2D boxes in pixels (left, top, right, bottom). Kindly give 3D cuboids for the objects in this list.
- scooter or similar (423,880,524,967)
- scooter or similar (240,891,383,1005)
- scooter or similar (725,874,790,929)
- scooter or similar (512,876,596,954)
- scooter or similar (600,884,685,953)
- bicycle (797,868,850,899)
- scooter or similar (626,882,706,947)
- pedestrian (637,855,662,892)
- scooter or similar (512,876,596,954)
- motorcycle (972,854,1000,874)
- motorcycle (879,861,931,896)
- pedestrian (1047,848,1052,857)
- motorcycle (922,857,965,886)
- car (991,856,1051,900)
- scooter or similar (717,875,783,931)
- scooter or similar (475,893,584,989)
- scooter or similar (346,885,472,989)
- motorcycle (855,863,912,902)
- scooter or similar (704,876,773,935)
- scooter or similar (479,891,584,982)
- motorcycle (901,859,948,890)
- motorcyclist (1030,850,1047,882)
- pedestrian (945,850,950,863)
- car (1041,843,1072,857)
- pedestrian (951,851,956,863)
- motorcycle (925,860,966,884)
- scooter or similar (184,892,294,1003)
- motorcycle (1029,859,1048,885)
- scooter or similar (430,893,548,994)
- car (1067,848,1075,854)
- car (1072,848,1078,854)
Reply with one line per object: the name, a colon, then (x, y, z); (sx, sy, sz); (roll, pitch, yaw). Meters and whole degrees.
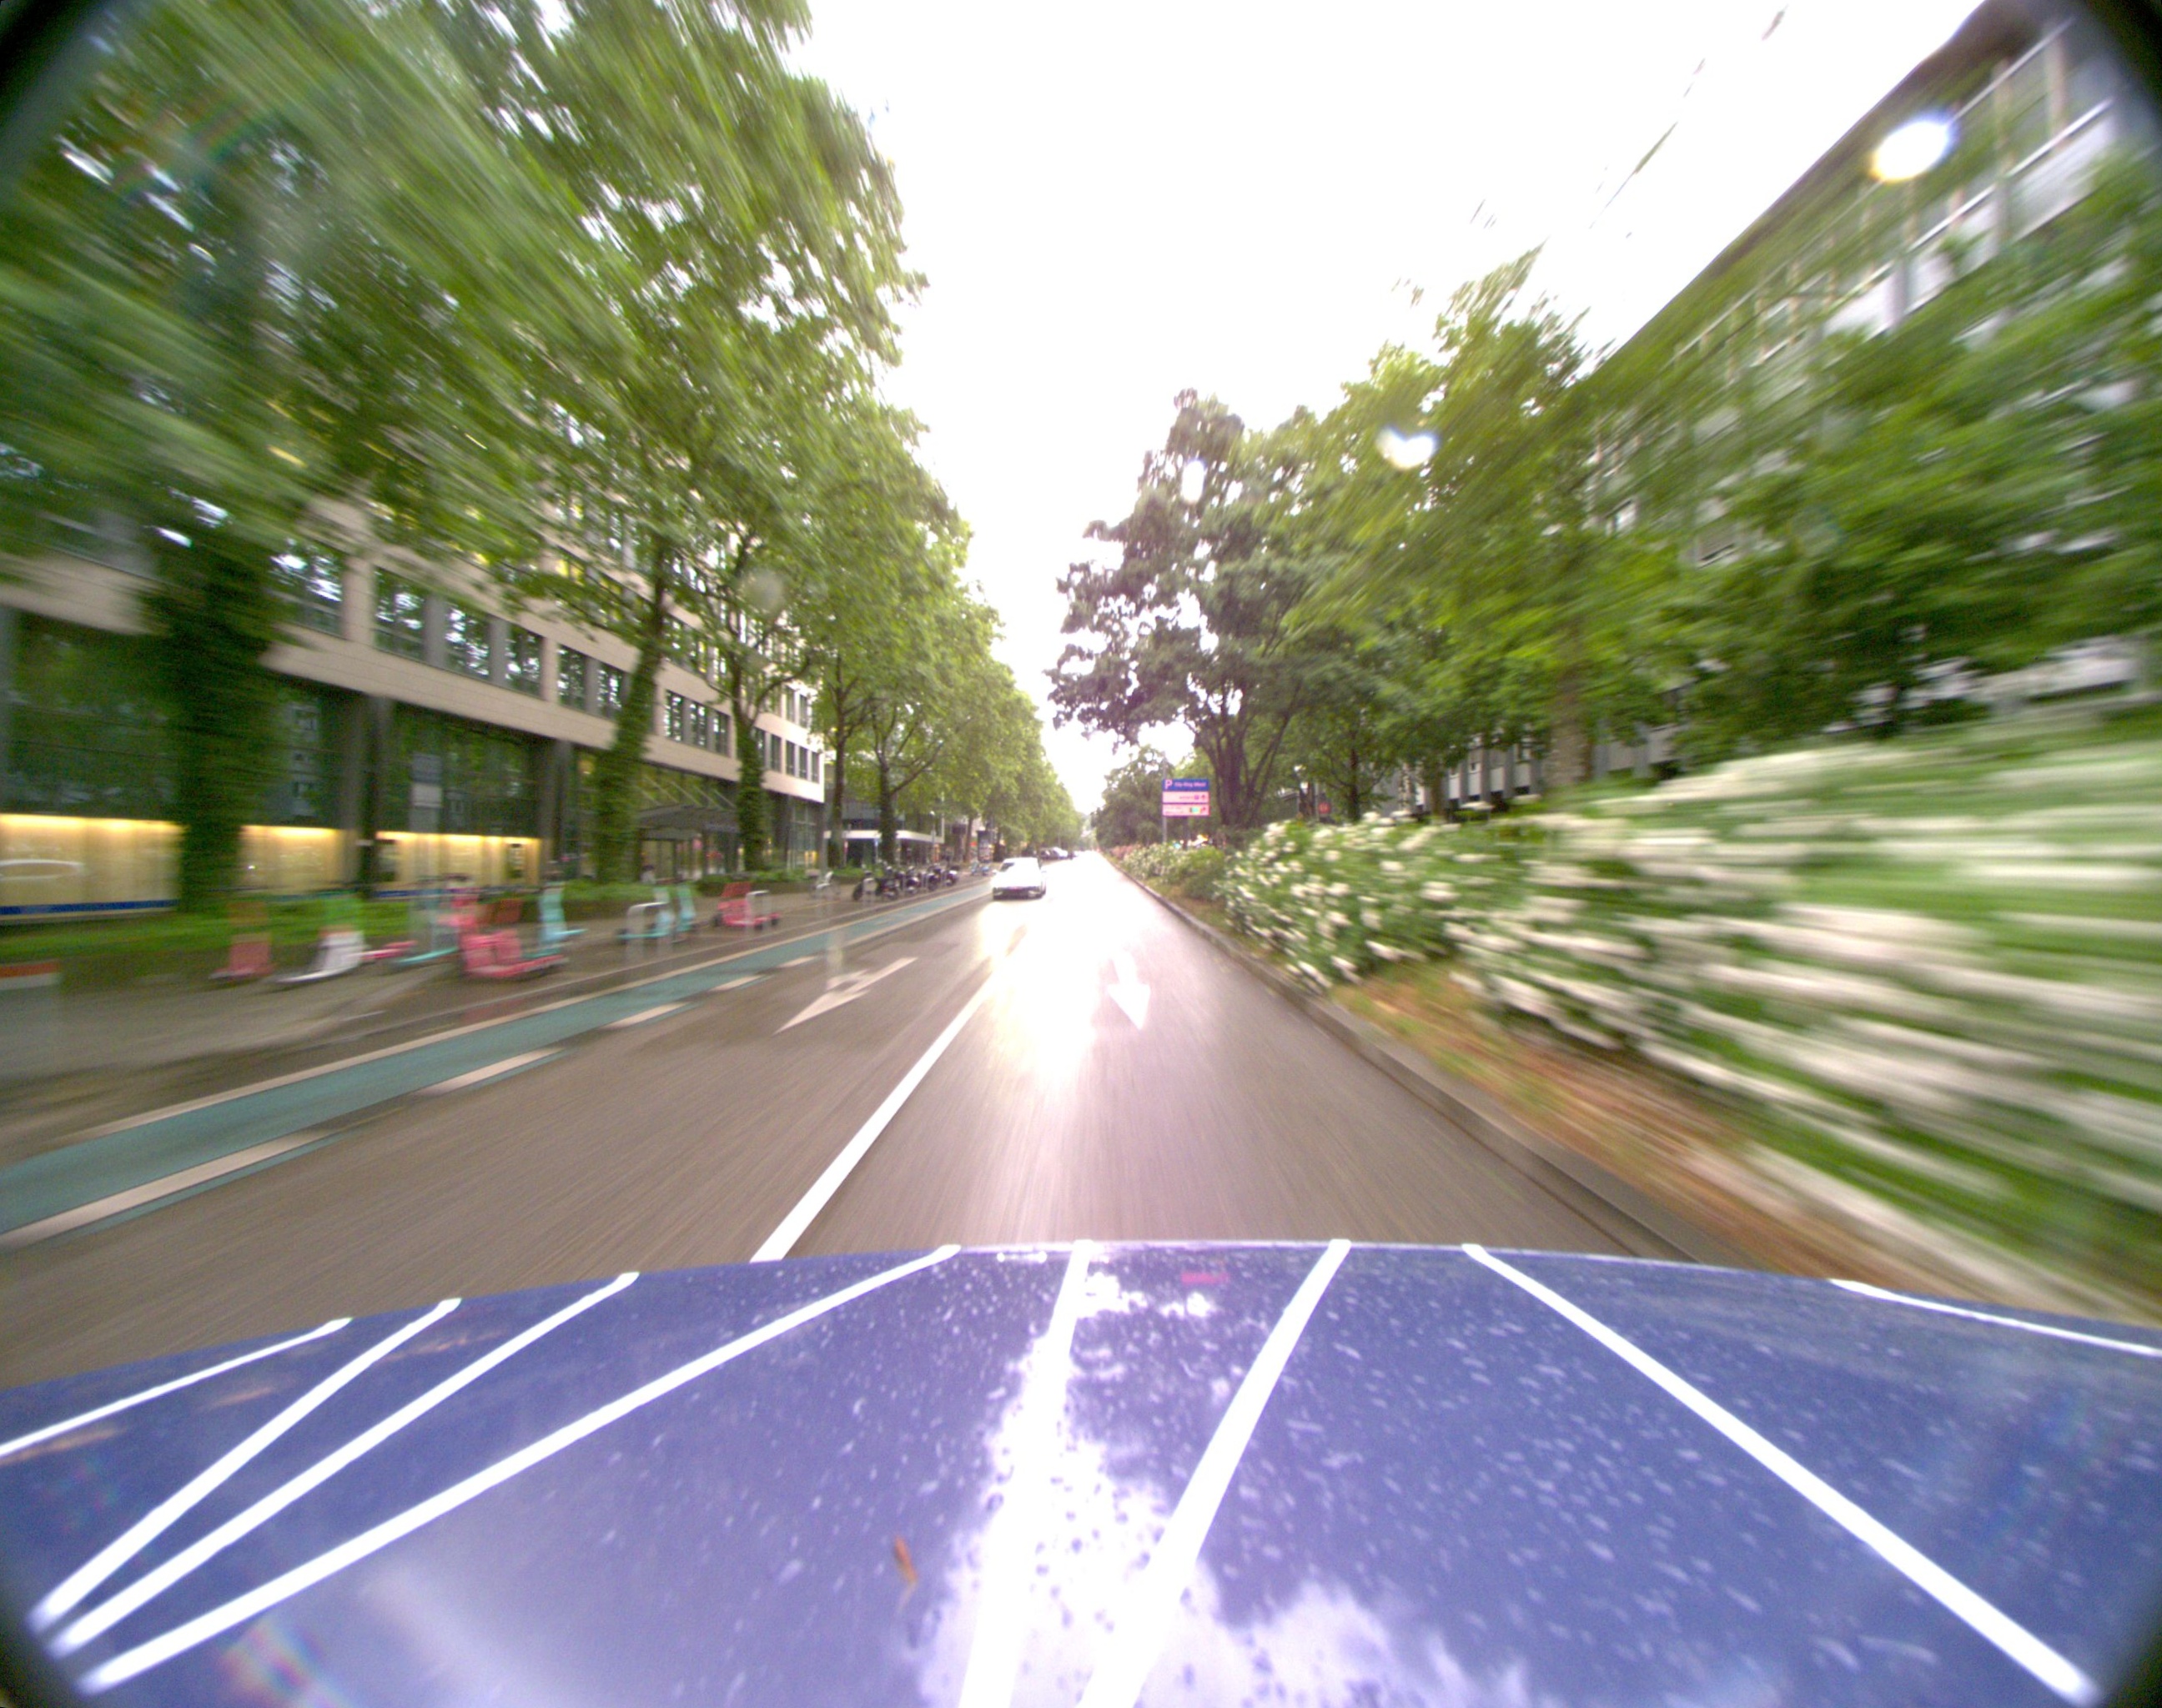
scooter or similar: (-9.341, 1.039, 11.739); (0.489, 1.252, 1.294); (0, -1, 1)
scooter or similar: (-9.264, 1.085, 9.209); (0.489, 1.191, 1.292); (-1, 1, -8)
scooter or similar: (-7.686, 1.123, 18.075); (1.292, 1.270, 0.537); (0, -1, 5)
scooter or similar: (-8.945, 1.004, 12.941); (0.489, 1.252, 1.294); (0, -1, 1)
scooter or similar: (-8.108, 1.185, 14.082); (1.292, 1.228, 0.489); (0, -1, 3)
bicycle: (-9.169, 1.039, 27.124); (0.637, 1.022, 1.766); (-1, 1, 30)
scooter or similar: (-8.095, 1.171, 14.827); (1.292, 1.228, 0.489); (0, -1, 3)
pedestrian: (-20.210, 0.909, 35.558); (0.727, 1.683, 0.830); (0, 0, 44)
scooter or similar: (-8.945, 1.004, 12.941); (0.489, 1.252, 1.294); (0, -1, 1)
motorcycle: (-6.787, 0.702, 54.177); (0.682, 1.359, 1.950); (4, 2, 41)
motorcycle: (-7.072, 0.972, 30.494); (1.964, 1.365, 0.728); (1, -1, -20)
pedestrian: (-6.288, -0.268, 151.963); (0.893, 1.839, 0.786); (-2, 2, -17)
motorcycle: (-6.931, 0.894, 38.306); (2.062, 1.420, 0.728); (1, -1, -20)
car: (-2.190, 0.850, 28.673); (1.795, 1.463, 3.793); (-2, 1, 2)
scooter or similar: (-7.678, 1.131, 17.631); (1.292, 1.270, 0.537); (0, -1, 5)
scooter or similar: (-7.670, 1.185, 10.576); (1.291, 1.252, 0.490); (0, -1, 13)
scooter or similar: (-8.842, 1.056, 10.055); (0.489, 1.252, 1.294); (0, -1, 1)
motorcycle: (-7.060, 1.002, 27.201); (1.963, 1.365, 0.728); (1, -1, -15)
scooter or similar: (-7.618, 1.142, 16.945); (1.294, 1.270, 0.536); (1, -1, -9)
scooter or similar: (-8.035, 1.186, 11.118); (1.291, 1.252, 0.490); (0, -1, 13)
motorcycle: (-6.977, 0.919, 33.913); (1.964, 1.365, 0.728); (1, -1, -20)
motorcyclist: (-2.150, 0.583, 38.319); (0.744, 1.575, 1.059); (-2, 2, 1)
pedestrian: (-19.009, 0.311, 108.445); (0.523, 1.848, 0.704); (1, 2, 1)
car: (-5.123, -0.866, 158.707); (6.267, 2.665, 2.326); (-1, 2, 37)
pedestrian: (-18.221, 0.433, 108.500); (0.527, 1.616, 0.719); (1, 2, 1)
motorcycle: (-7.236, 0.974, 40.668); (2.064, 1.206, 0.683); (1, 1, -34)
scooter or similar: (-10.433, 1.118, 9.459); (0.490, 1.191, 1.290); (-2, 2, -30)
motorcycle: (-2.138, 0.889, 38.410); (0.744, 1.194, 2.235); (-2, 1, 1)
scooter or similar: (-7.759, 1.150, 9.967); (1.291, 1.252, 0.490); (0, -1, 13)
car: (-2.424, -0.720, 182.679); (1.598, 1.517, 3.425); (-1, 1, 1)
car: (-1.869, -0.924, 224.317); (1.598, 1.517, 3.425); (-1, 1, 1)
